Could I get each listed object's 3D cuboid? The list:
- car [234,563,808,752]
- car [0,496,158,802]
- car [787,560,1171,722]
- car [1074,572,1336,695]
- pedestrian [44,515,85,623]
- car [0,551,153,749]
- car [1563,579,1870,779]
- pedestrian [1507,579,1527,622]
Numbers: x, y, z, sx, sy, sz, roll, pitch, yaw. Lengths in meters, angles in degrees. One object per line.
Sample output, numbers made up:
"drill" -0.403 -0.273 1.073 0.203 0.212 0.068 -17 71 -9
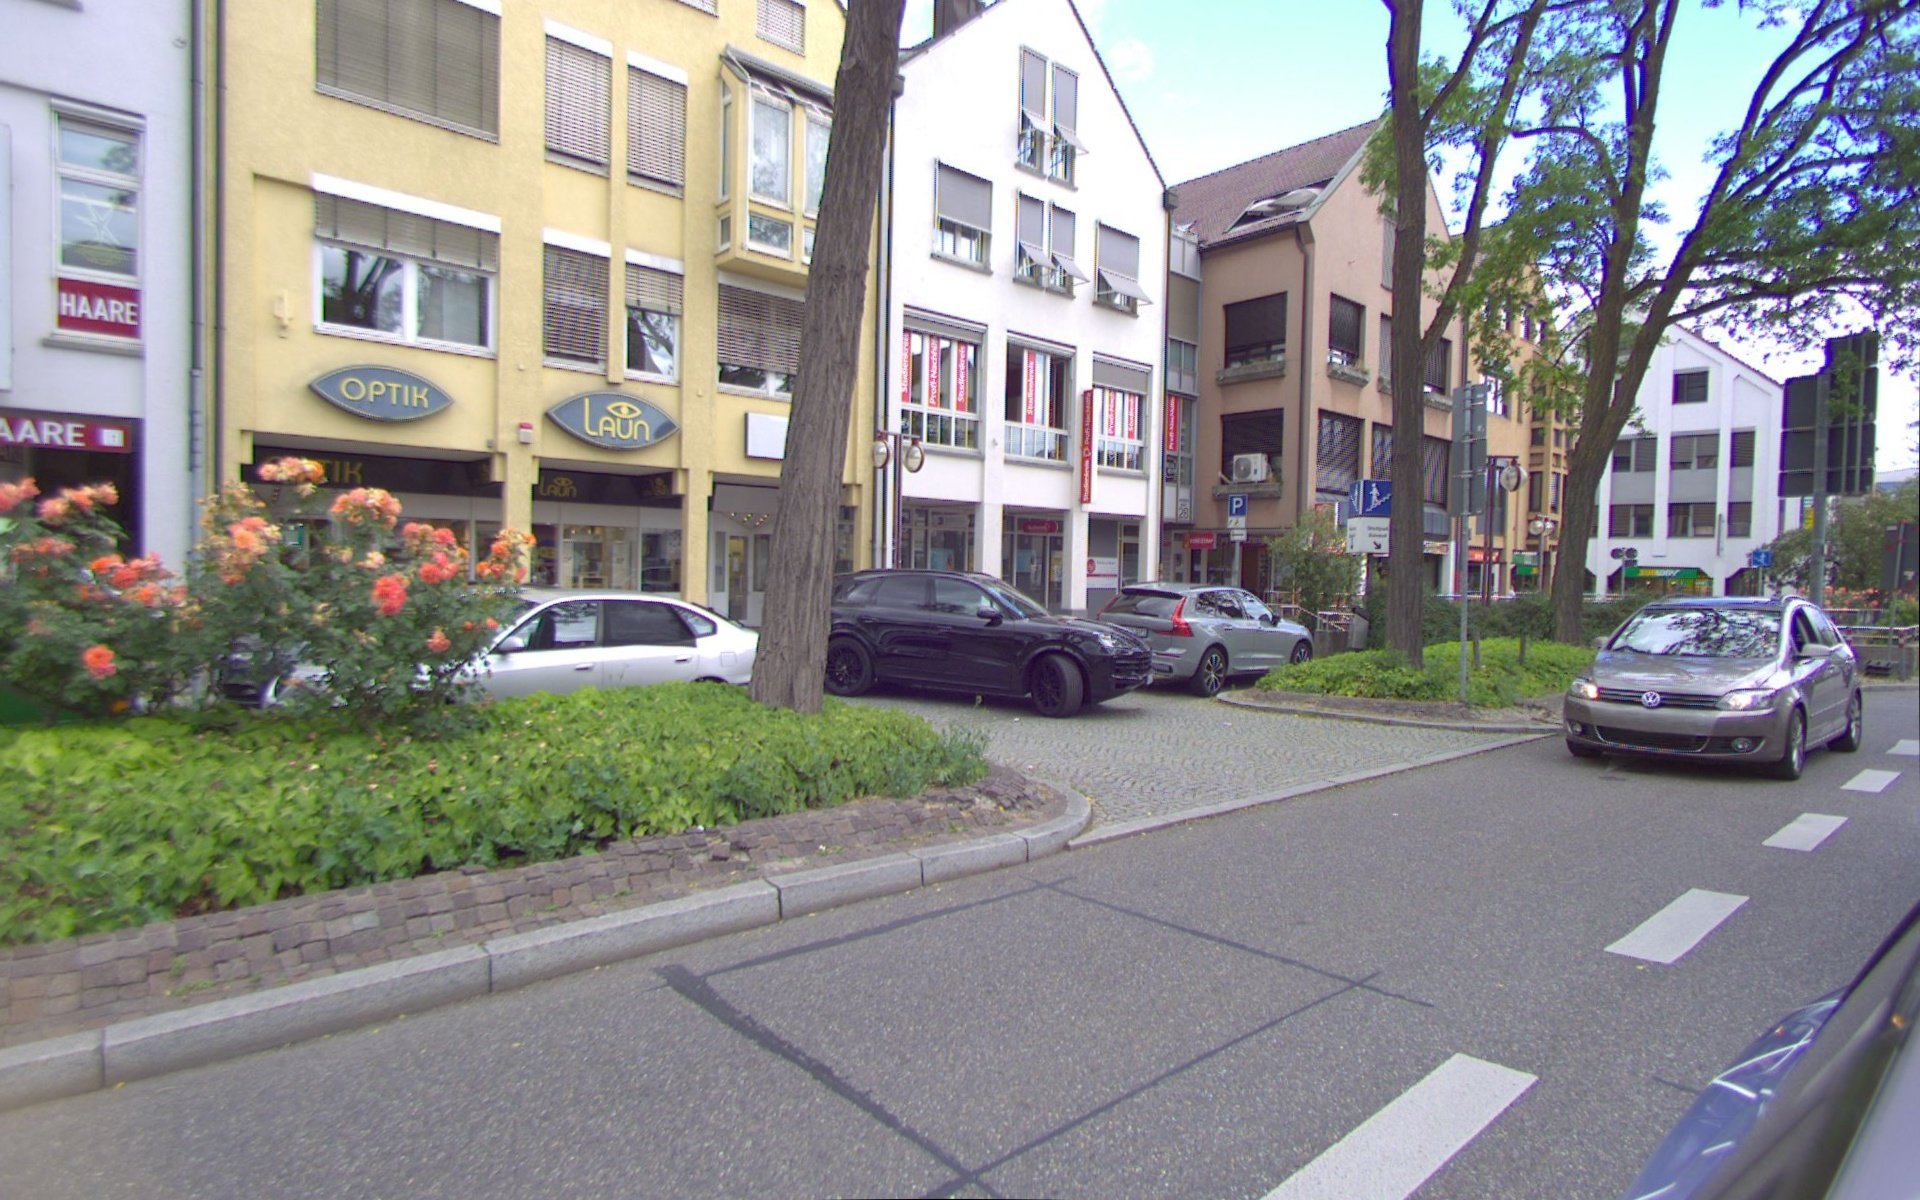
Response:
"car" -3.920 0.373 9.624 4.674 1.325 1.841 -1 3 -43
"car" -7.755 0.267 5.923 4.674 1.899 1.996 -1 3 -43
"car" 0.280 0.427 13.484 4.694 1.699 1.987 3 2 20
"car" 4.172 0.432 16.742 4.676 1.674 1.996 -1 3 -44
"pedestrian" -13.881 -0.483 15.679 0.555 1.631 0.417 2 1 43
"car" -9.398 0.388 7.923 4.676 1.566 1.996 -1 3 -44
"car" 7.507 0.616 9.897 3.934 1.549 1.798 0 0 -44
"pedestrian" 21.489 0.018 39.046 0.495 1.645 0.494 1 1 4
